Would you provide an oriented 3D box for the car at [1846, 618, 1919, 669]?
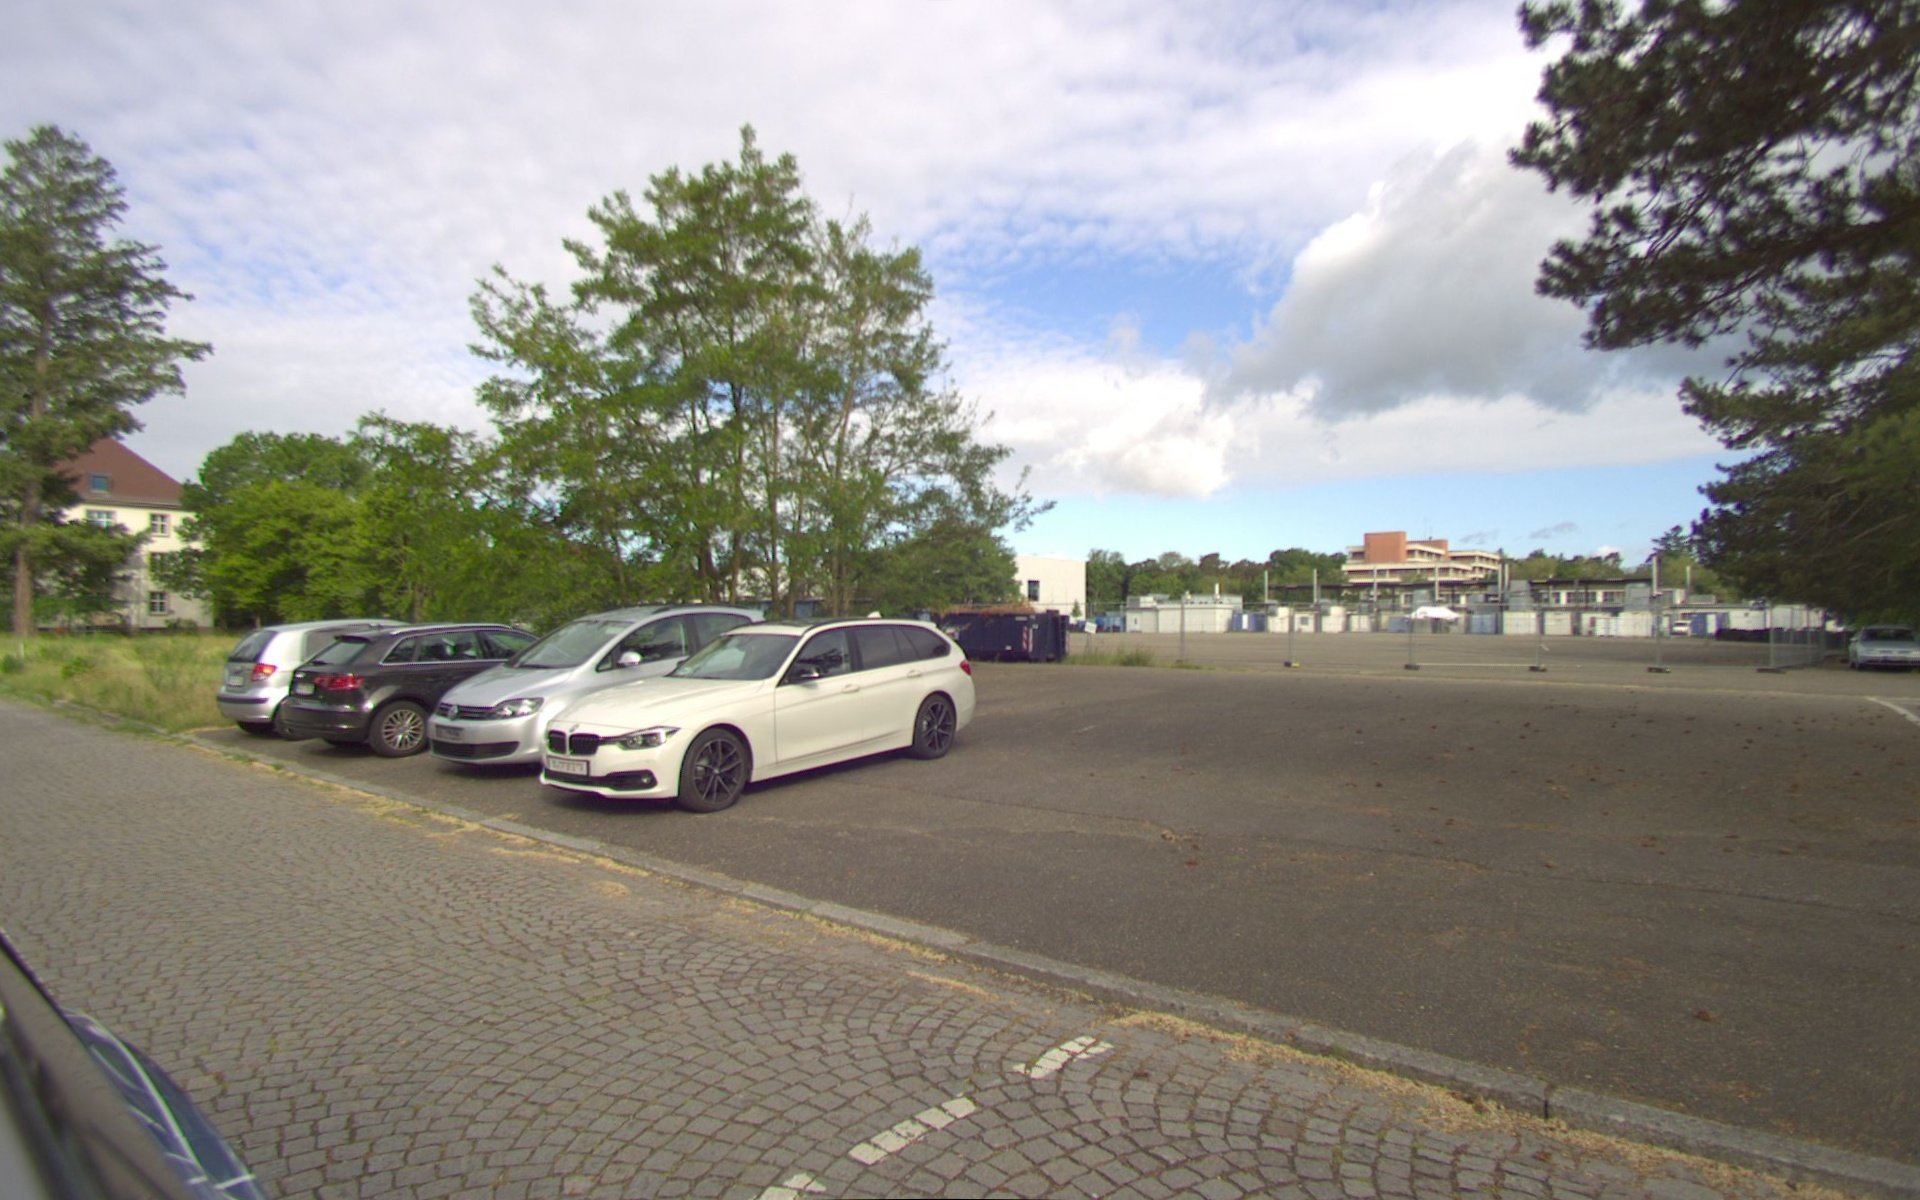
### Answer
[{"bbox_3d":[29.278,1.325,31.714,1.922,1.488,4.314,-1,-1,37],"label":"car"}]

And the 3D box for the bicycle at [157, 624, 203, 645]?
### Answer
[{"bbox_3d":[-58.873,2.597,76.408,2.637,1.516,1.273,1,-2,-45],"label":"bicycle"}]

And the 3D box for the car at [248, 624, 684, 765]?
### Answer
[{"bbox_3d":[-5.938,1.016,12.713,1.882,1.433,4.576,-1,-2,37],"label":"car"}]

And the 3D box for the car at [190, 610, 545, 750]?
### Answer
[{"bbox_3d":[-8.134,0.990,14.242,1.677,1.467,3.940,-1,2,35],"label":"car"}]

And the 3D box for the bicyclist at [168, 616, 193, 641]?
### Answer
[{"bbox_3d":[-58.876,2.147,76.427,1.300,1.882,1.250,1,-2,-44],"label":"bicyclist"}]

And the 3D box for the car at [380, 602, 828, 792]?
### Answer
[{"bbox_3d":[-3.676,0.867,11.229,1.844,1.602,4.433,-1,0,36],"label":"car"}]

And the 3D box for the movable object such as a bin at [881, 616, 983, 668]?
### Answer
[{"bbox_3d":[-0.668,1.013,25.019,1.169,1.221,2.506,-1,-1,39],"label":"movable object such as a bin"}]

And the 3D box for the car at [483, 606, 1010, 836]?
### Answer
[{"bbox_3d":[-1.675,0.869,9.555,1.910,1.450,4.761,-1,1,37],"label":"car"}]
